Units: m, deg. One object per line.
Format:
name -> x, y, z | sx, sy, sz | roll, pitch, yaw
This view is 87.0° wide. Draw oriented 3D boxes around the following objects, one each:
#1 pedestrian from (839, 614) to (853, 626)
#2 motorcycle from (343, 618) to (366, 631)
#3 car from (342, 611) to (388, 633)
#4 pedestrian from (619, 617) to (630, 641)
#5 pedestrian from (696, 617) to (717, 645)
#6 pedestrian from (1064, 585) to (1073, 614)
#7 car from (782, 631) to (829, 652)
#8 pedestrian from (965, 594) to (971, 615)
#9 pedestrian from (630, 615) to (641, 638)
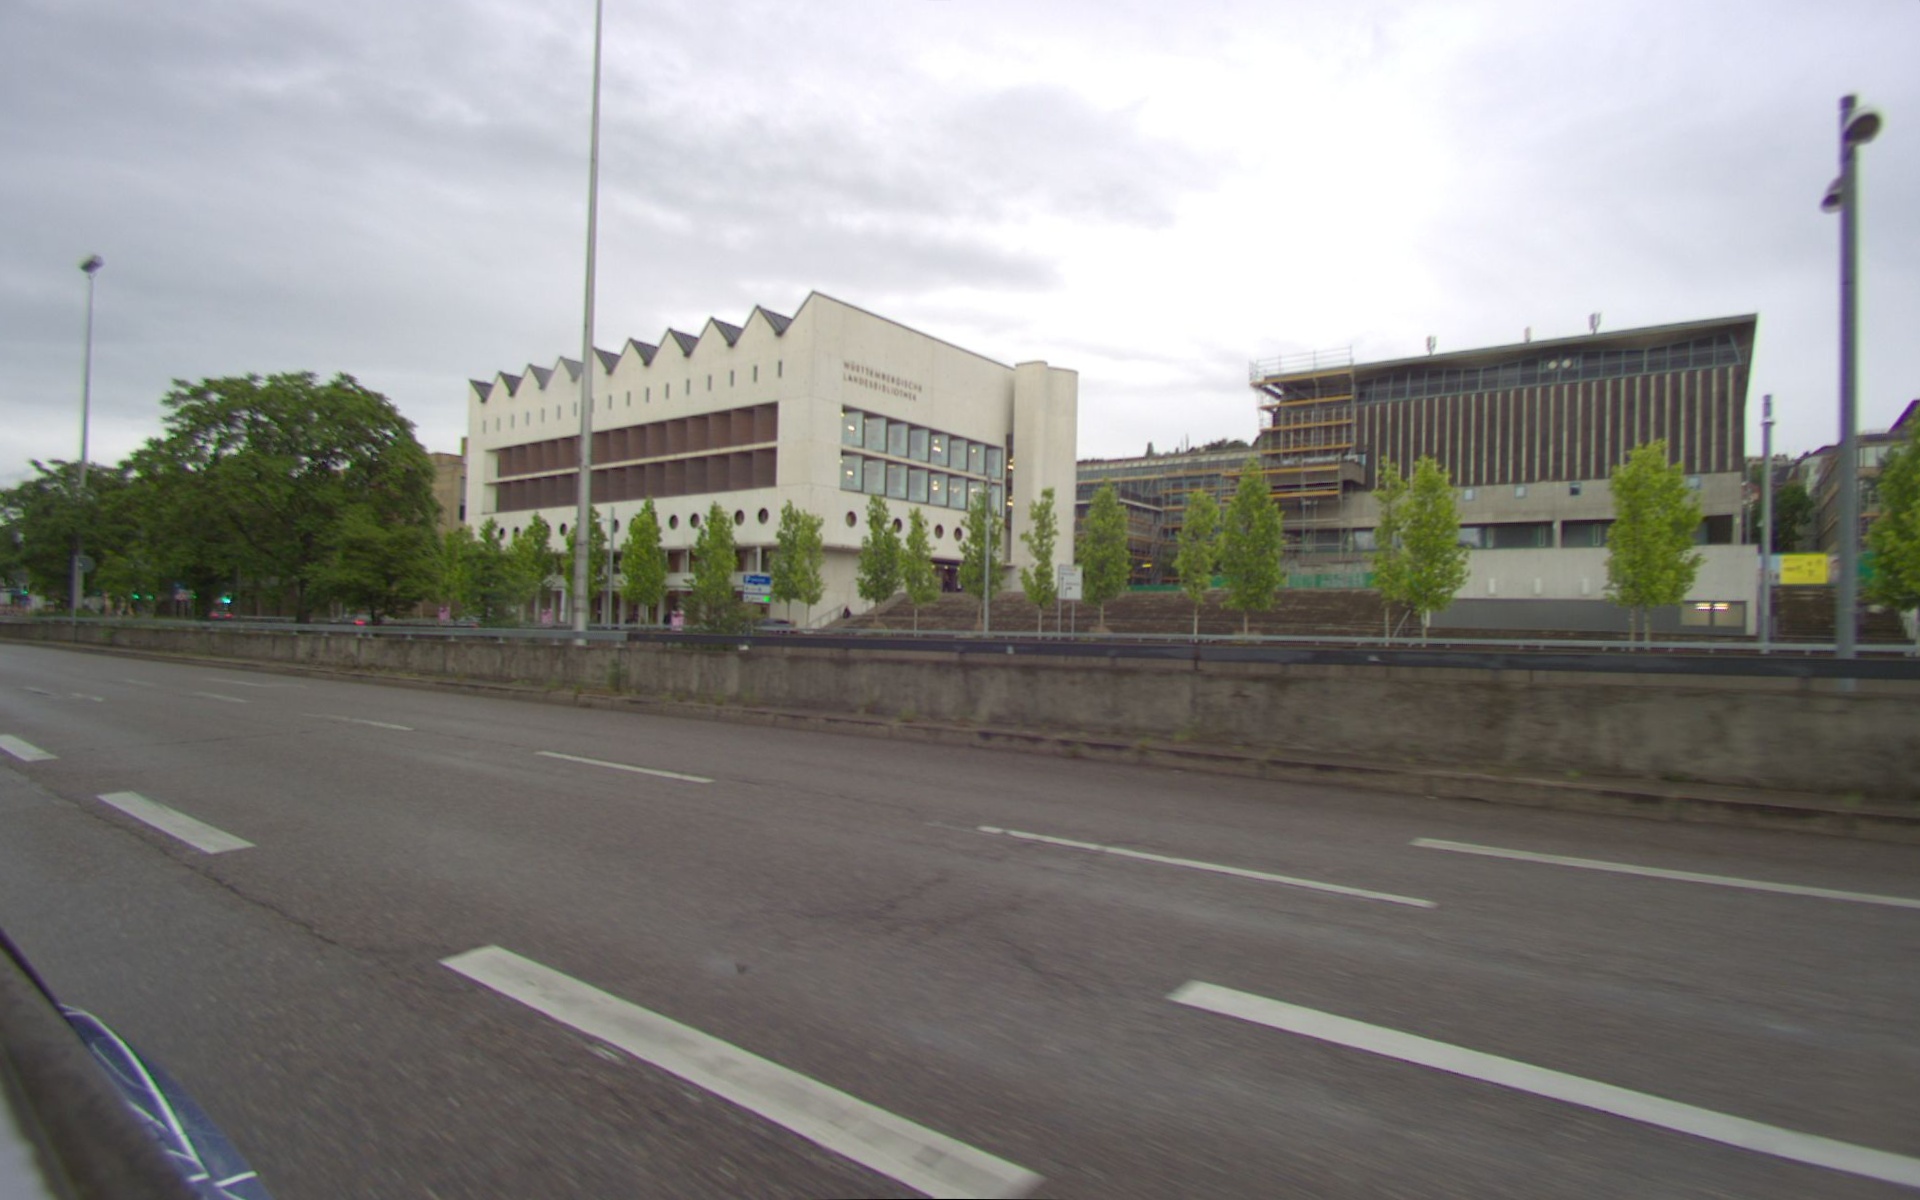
pedestrian -> -8.360, 1.463, 74.087 | 0.628, 0.894, 0.798 | 0, 0, 39
motorcycle -> -57.101, 2.287, 95.489 | 0.603, 1.191, 1.801 | 0, 0, 25
car -> -44.541, 1.612, 75.739 | 3.469, 1.567, 1.679 | 0, 0, 36
pedestrian -> -27.205, 2.337, 82.000 | 0.728, 1.873, 0.703 | 0, 0, -9
pedestrian -> -17.139, 2.104, 68.410 | 0.826, 1.880, 1.077 | 0, 0, 31
pedestrian -> 7.845, -0.033, 73.120 | 0.598, 2.029, 0.639 | 0, 0, 4
car -> -7.293, 1.950, 47.730 | 2.194, 0.984, 0.962 | -1, -1, 37
pedestrian -> 0.629, 0.350, 75.248 | 0.315, 1.585, 0.308 | 0, -1, 39
pedestrian -> -26.351, 2.146, 82.128 | 0.728, 1.873, 0.703 | 0, 0, -9
